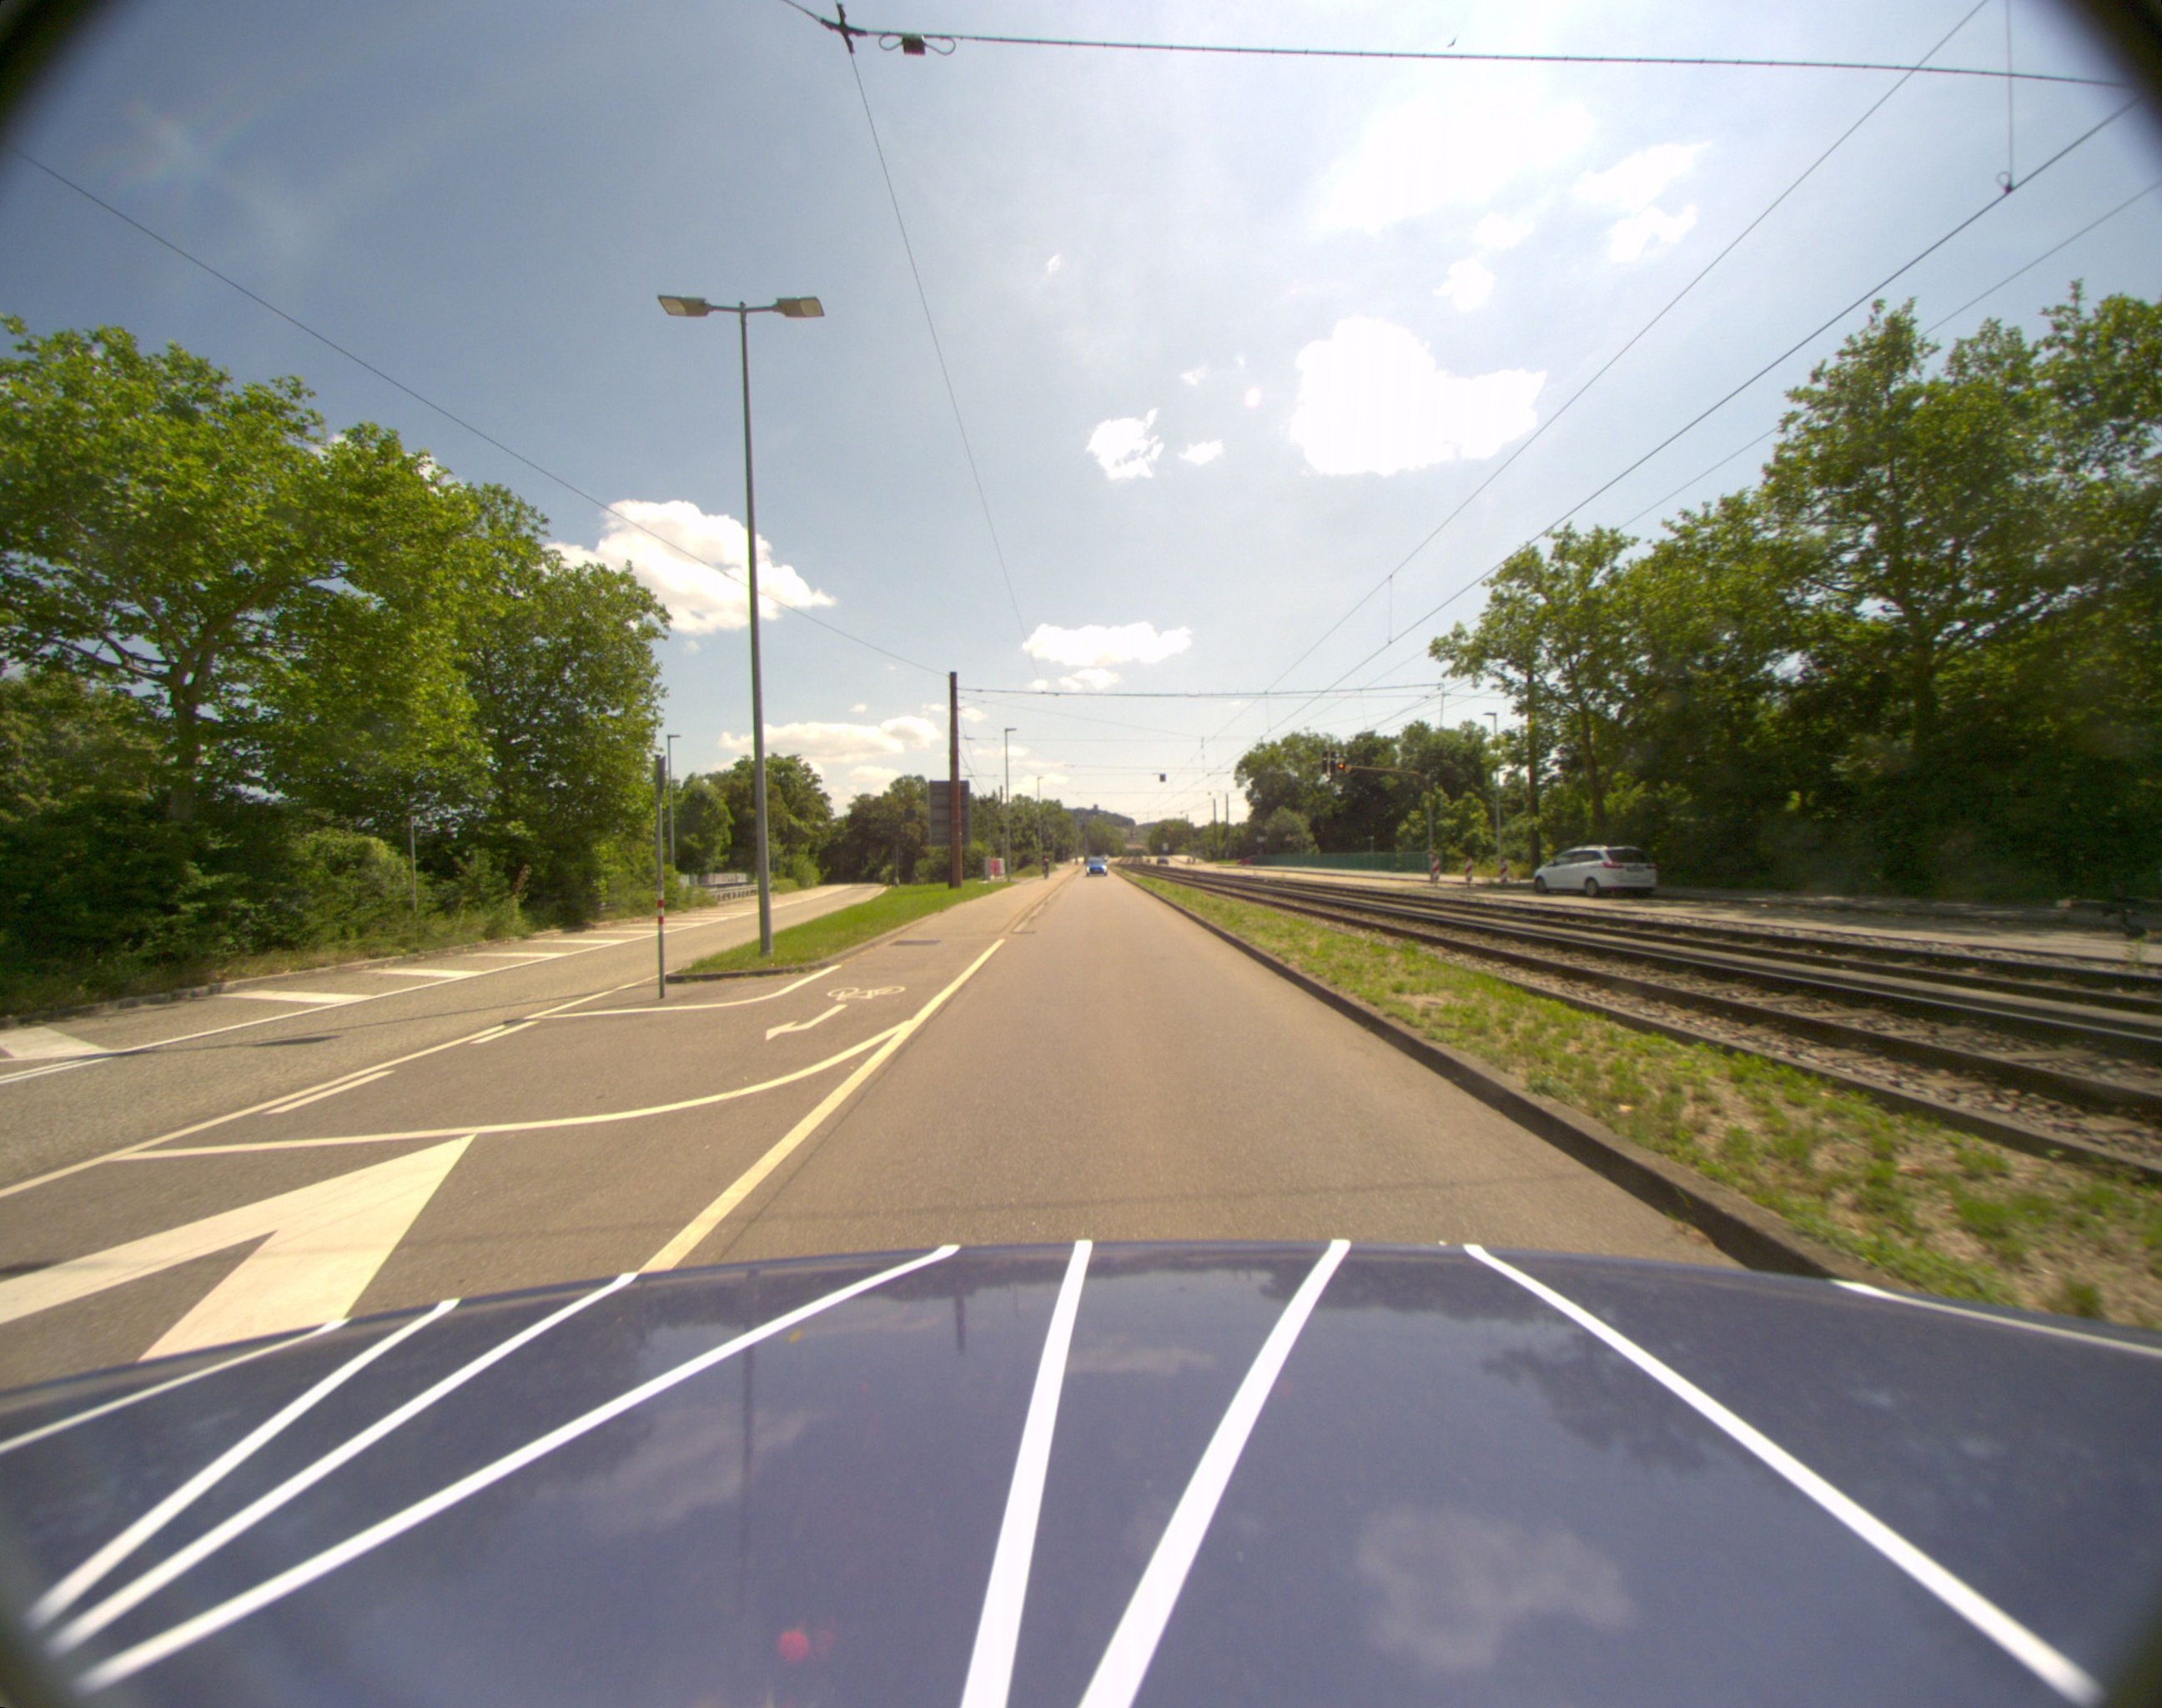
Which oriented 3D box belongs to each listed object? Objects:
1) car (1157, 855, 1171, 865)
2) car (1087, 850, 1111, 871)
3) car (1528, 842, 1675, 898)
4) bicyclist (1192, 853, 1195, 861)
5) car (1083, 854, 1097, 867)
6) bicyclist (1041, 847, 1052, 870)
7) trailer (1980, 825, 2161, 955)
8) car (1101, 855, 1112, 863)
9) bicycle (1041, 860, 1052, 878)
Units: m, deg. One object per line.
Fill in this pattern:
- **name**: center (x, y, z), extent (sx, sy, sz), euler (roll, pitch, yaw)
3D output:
- **car**: center (14.559, 0.982, 132.917), extent (1.880, 1.710, 5.330), euler (-2, 0, 0)
- **car**: center (1.482, 0.577, 62.285), extent (1.865, 1.630, 4.001), euler (-2, -1, 1)
- **car**: center (17.316, 0.545, 25.608), extent (1.724, 1.621, 4.617), euler (-2, -1, 0)
- **bicyclist**: center (20.225, 0.561, 136.967), extent (0.457, 1.465, 0.633), euler (-2, 1, 3)
- **car**: center (1.237, 0.906, 103.053), extent (1.683, 1.737, 3.686), euler (-3, -1, 2)
- **bicyclist**: center (-2.292, 0.296, 50.421), extent (0.586, 1.486, 0.558), euler (-3, -1, 6)
- **trailer**: center (17.046, 0.488, 10.304), extent (2.468, 1.878, 5.960), euler (-2, 0, -3)
- **car**: center (5.500, 1.096, 164.396), extent (1.731, 1.695, 3.999), euler (-2, -1, -4)
- **bicycle**: center (-2.284, 1.019, 50.258), extent (0.433, 1.145, 1.856), euler (-3, -1, 6)
